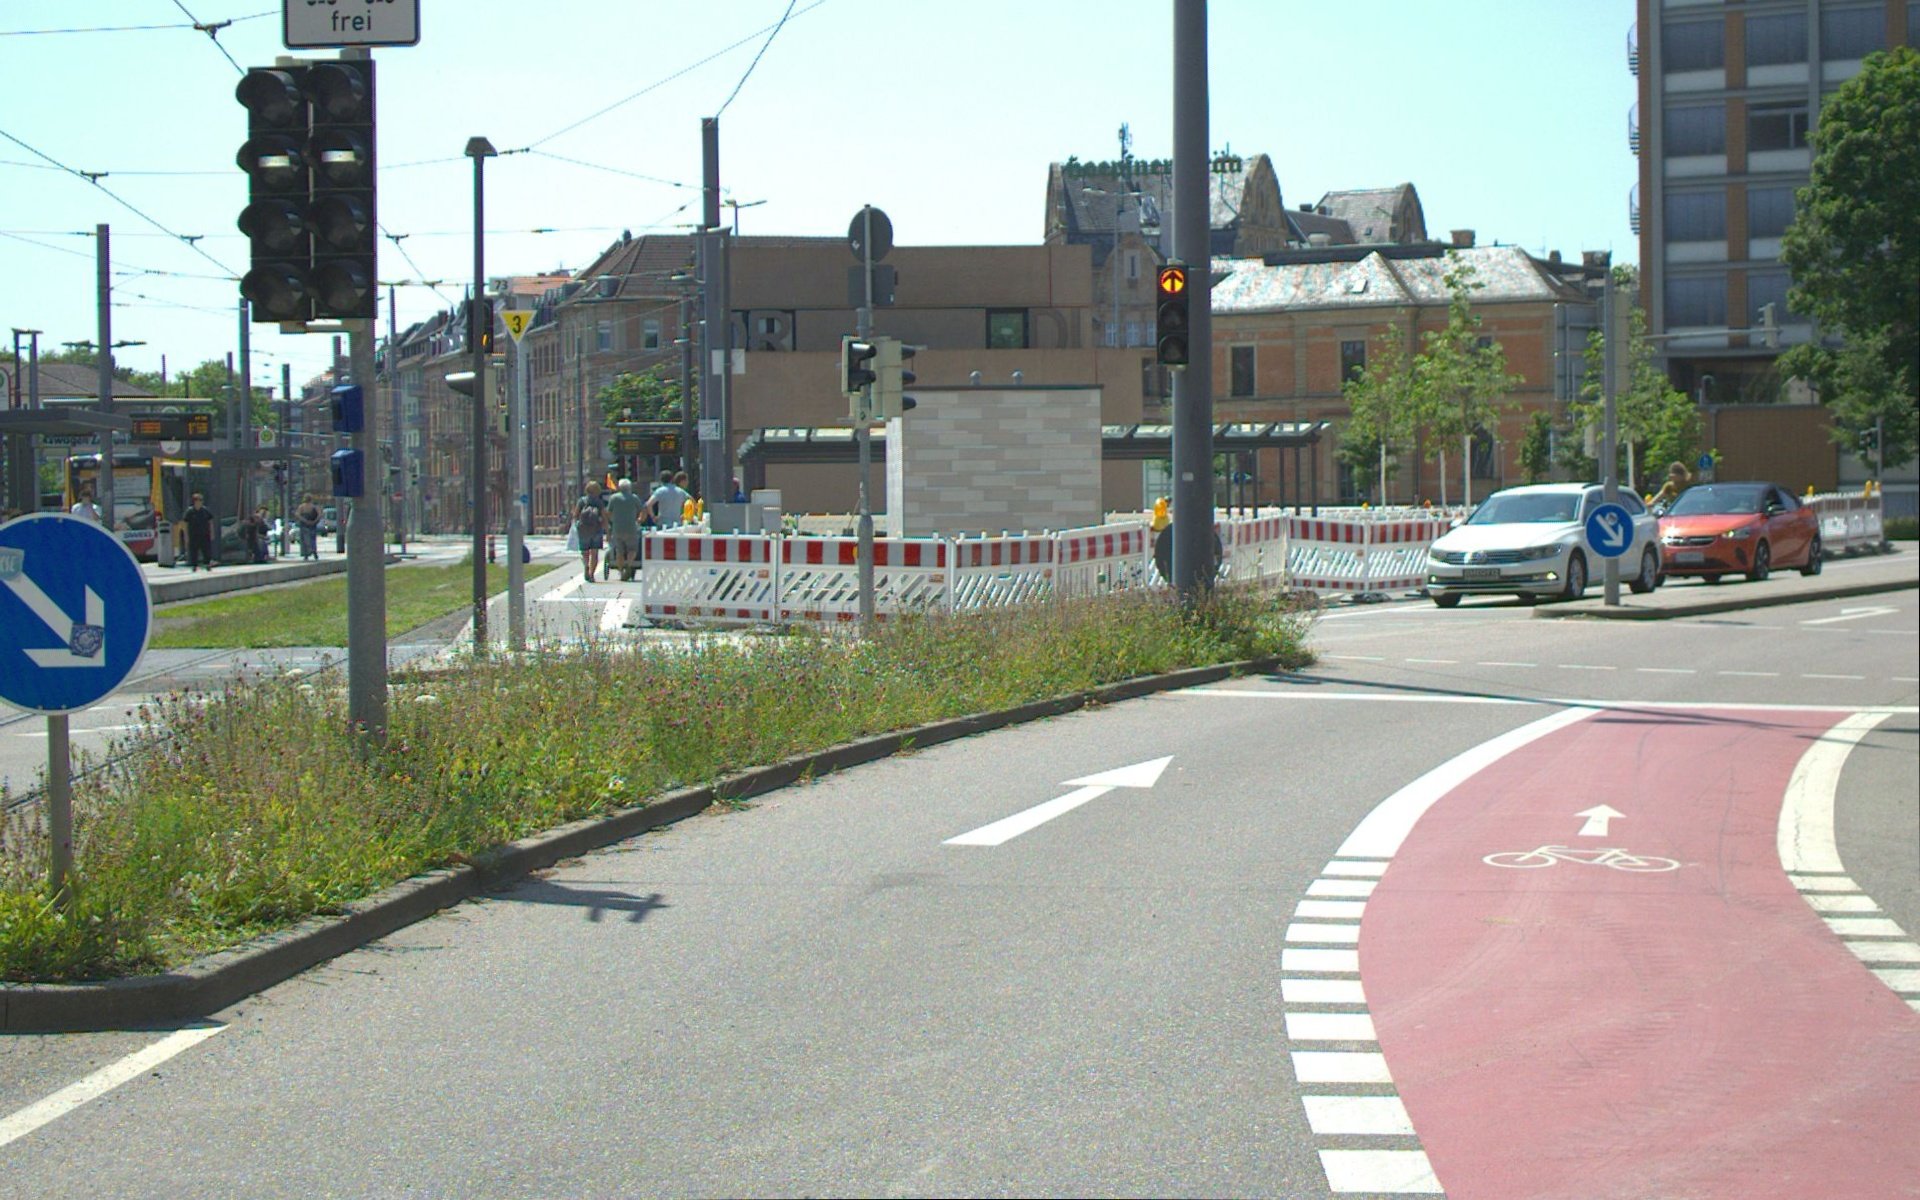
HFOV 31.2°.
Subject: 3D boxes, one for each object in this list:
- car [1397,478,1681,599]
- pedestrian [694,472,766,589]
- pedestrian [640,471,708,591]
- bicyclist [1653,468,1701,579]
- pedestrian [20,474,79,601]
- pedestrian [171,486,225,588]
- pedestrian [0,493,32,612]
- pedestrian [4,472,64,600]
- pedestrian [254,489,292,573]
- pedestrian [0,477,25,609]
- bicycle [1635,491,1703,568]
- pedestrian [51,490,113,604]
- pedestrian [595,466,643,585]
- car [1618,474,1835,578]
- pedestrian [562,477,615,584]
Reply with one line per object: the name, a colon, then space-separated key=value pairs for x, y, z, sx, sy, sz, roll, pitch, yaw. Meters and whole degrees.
car: x=7.340 y=-0.771 z=43.238 sx=1.997 sy=1.433 sz=4.697 roll=0 pitch=1 yaw=30
pedestrian: x=-3.673 y=-1.113 z=54.843 sx=0.976 sy=1.826 sz=0.634 roll=-1 pitch=2 yaw=-19
pedestrian: x=-4.467 y=-1.070 z=53.639 sx=0.730 sy=1.858 sz=0.765 roll=0 pitch=1 yaw=45
bicyclist: x=11.083 y=-1.186 z=53.151 sx=0.568 sy=1.713 sz=0.506 roll=1 pitch=3 yaw=37
pedestrian: x=-15.132 y=-1.040 z=57.110 sx=0.899 sy=2.089 sz=0.832 roll=-1 pitch=2 yaw=-15
pedestrian: x=-15.926 y=-1.321 z=71.876 sx=0.899 sy=2.089 sz=0.831 roll=-1 pitch=1 yaw=1
pedestrian: x=-14.931 y=-0.739 z=53.482 sx=0.911 sy=1.845 sz=0.658 roll=-1 pitch=2 yaw=-14
pedestrian: x=-15.287 y=-1.060 z=56.734 sx=0.899 sy=2.089 sz=0.832 roll=-1 pitch=2 yaw=-15
pedestrian: x=-17.426 y=-1.754 z=87.208 sx=0.829 sy=2.089 sz=0.902 roll=-1 pitch=1 yaw=-5
pedestrian: x=-14.712 y=-0.868 z=52.150 sx=0.941 sy=1.983 sz=1.029 roll=-1 pitch=2 yaw=-14
bicycle: x=10.960 y=-1.099 z=53.141 sx=0.398 sy=1.170 sz=1.767 roll=0 pitch=2 yaw=33
pedestrian: x=-16.324 y=-0.993 z=63.944 sx=0.899 sy=2.089 sz=0.831 roll=-1 pitch=1 yaw=1
pedestrian: x=-5.585 y=-1.214 z=56.301 sx=0.719 sy=1.917 sz=1.074 roll=0 pitch=0 yaw=-9
car: x=10.996 y=-1.051 z=49.143 sx=1.734 sy=1.420 sz=4.116 roll=0 pitch=1 yaw=32
pedestrian: x=-5.955 y=-1.114 z=55.057 sx=0.726 sy=1.701 sz=0.744 roll=0 pitch=0 yaw=-16
